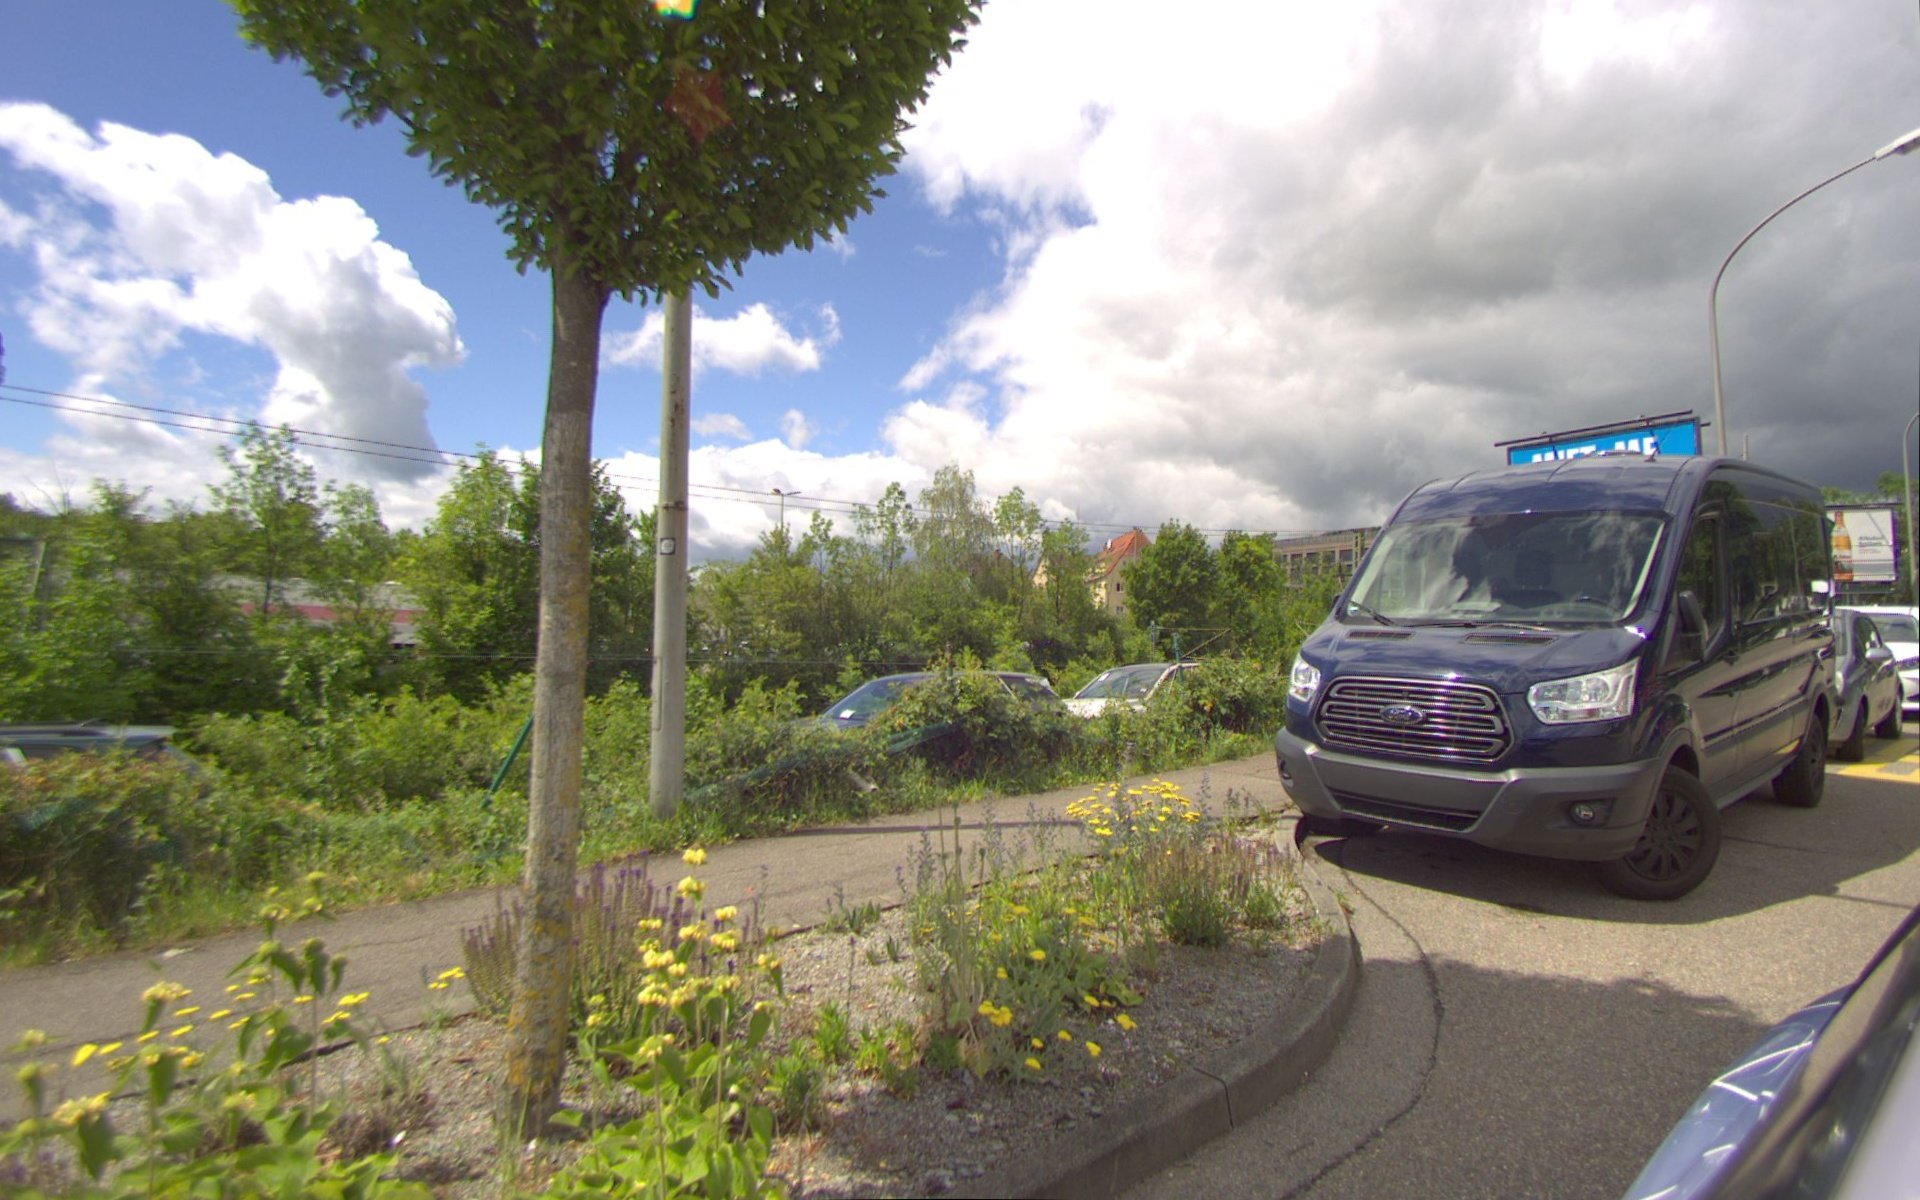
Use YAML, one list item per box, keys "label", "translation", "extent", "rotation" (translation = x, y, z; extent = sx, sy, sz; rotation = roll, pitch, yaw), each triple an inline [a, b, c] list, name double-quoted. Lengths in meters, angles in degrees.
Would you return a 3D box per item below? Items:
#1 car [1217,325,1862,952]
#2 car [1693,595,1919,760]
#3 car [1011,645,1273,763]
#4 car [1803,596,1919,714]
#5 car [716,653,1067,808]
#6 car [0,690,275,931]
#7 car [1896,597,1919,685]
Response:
- label: "car"
  translation: [4.270, 0.134, 6.874]
  extent: [5.634, 2.627, 2.058]
  rotation: [0, 0, -41]
- label: "car"
  translation: [9.049, 0.695, 10.745]
  extent: [3.308, 1.473, 1.333]
  rotation: [0, 0, -41]
- label: "car"
  translation: [2.939, 1.506, 15.820]
  extent: [4.226, 1.368, 1.819]
  rotation: [0, 1, -42]
- label: "car"
  translation: [12.969, 0.684, 14.057]
  extent: [3.385, 1.450, 1.401]
  rotation: [0, 0, -41]
- label: "car"
  translation: [-0.746, 1.493, 12.816]
  extent: [4.226, 1.368, 1.819]
  rotation: [0, 1, -42]
- label: "car"
  translation: [-7.551, 1.527, 7.005]
  extent: [4.477, 1.368, 1.819]
  rotation: [0, 1, -42]
- label: "car"
  translation: [18.068, 0.687, 18.104]
  extent: [3.888, 1.473, 1.521]
  rotation: [0, 0, -41]
